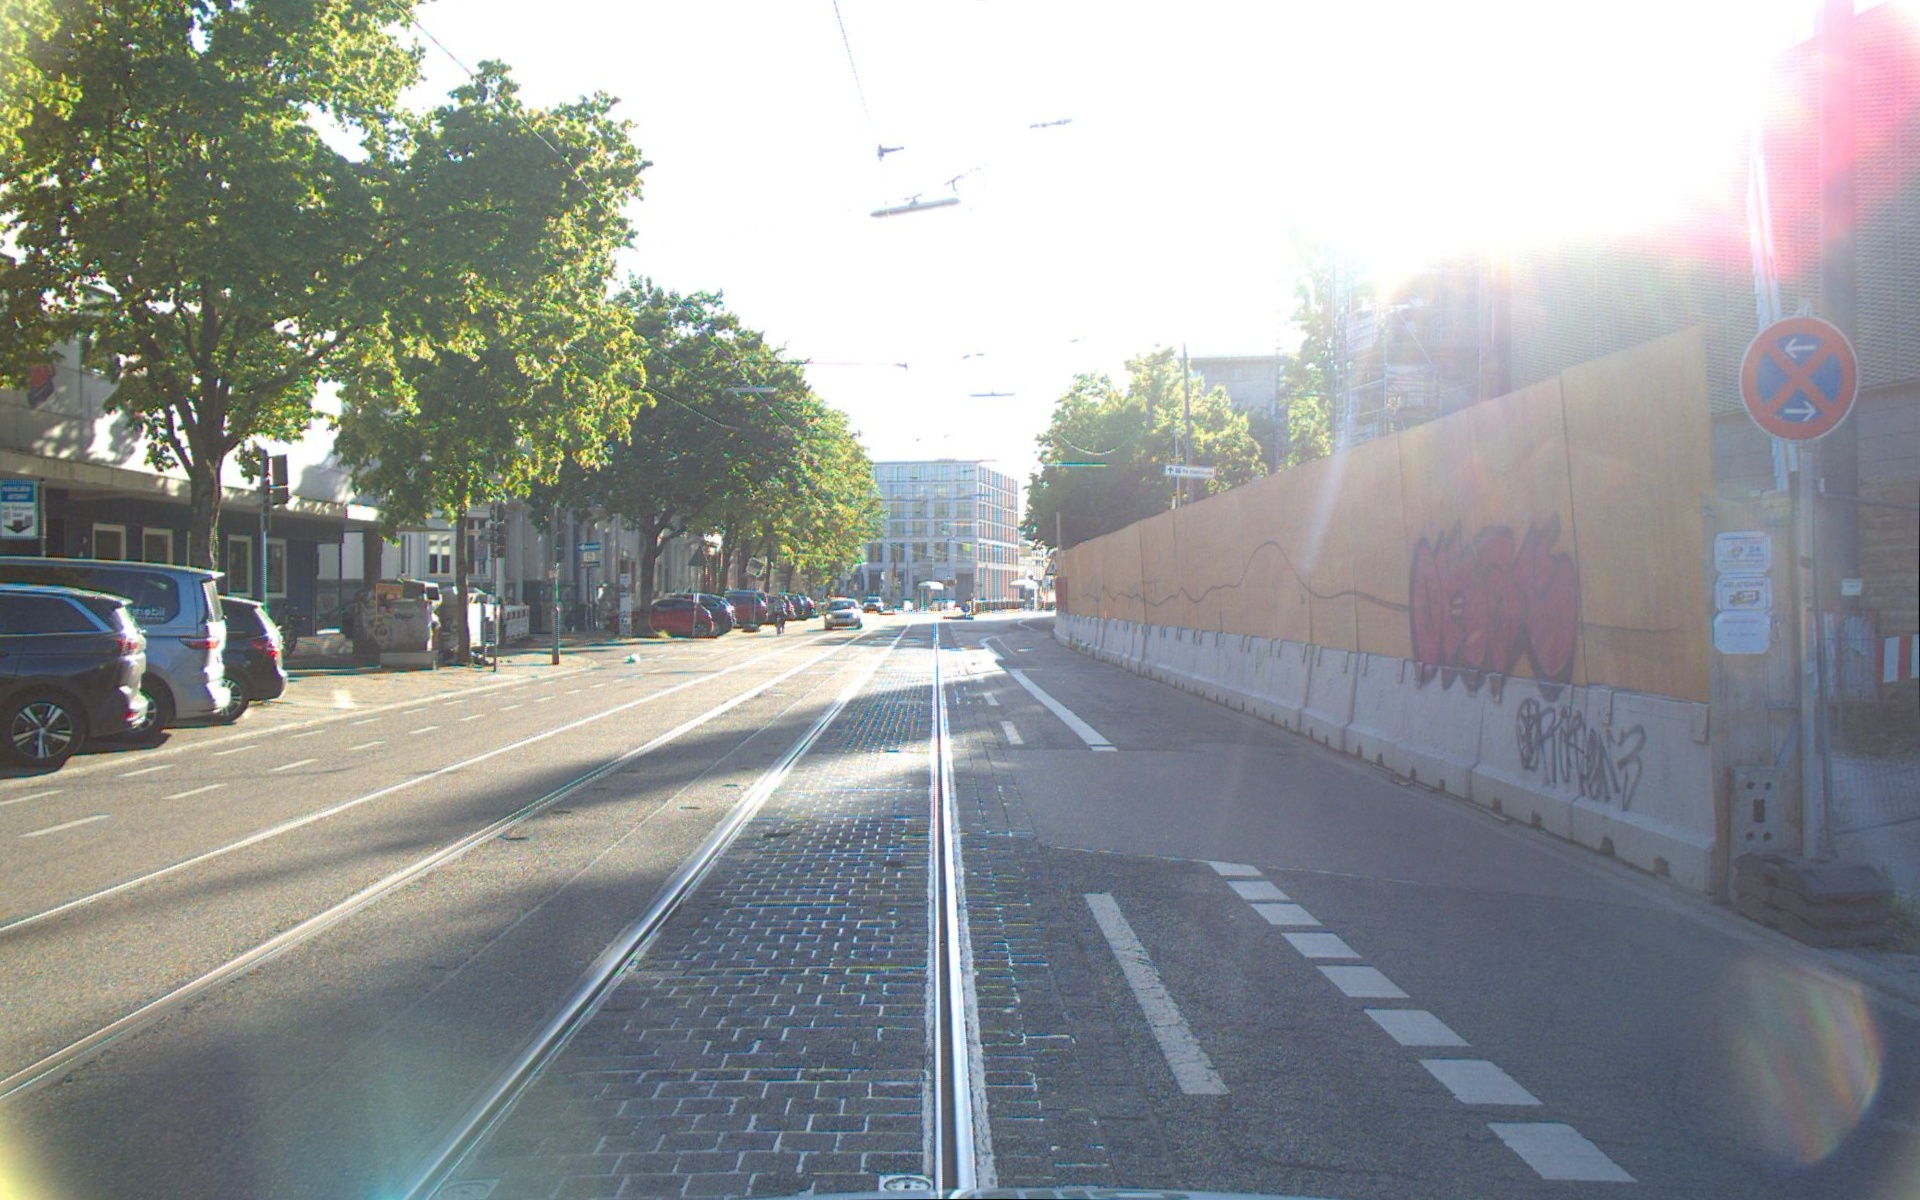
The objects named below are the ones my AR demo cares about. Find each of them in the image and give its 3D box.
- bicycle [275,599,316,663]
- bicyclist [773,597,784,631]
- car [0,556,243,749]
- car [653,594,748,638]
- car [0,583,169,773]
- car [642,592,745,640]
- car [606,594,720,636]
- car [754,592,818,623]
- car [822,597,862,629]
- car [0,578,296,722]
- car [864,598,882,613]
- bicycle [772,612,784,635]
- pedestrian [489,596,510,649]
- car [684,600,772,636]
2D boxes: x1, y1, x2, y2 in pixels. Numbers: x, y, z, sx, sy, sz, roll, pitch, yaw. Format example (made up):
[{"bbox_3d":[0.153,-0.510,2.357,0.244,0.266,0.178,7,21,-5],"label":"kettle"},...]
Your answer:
[{"bbox_3d":[-14.620,0.667,36.439,0.516,1.367,2.176,-1,0,-14],"label":"bicycle"},{"bbox_3d":[-7.579,0.600,69.141,0.449,1.402,0.640,-1,0,-6],"label":"bicyclist"},{"bbox_3d":[-10.283,0.545,18.203,4.294,2.021,1.936,1,0,-23],"label":"car"},{"bbox_3d":[-10.863,0.635,69.307,3.645,1.751,1.591,-1,0,-36],"label":"car"},{"bbox_3d":[-9.910,0.747,15.691,4.176,1.714,1.799,-1,0,-22],"label":"car"},{"bbox_3d":[-10.352,0.600,64.260,3.645,1.751,1.591,-1,0,-36],"label":"car"},{"bbox_3d":[-10.964,0.563,61.126,3.868,1.478,1.618,1,-1,-35],"label":"car"},{"bbox_3d":[-9.744,0.402,92.633,3.336,1.727,1.392,0,0,-29],"label":"car"},{"bbox_3d":[-5.666,0.602,79.804,1.674,1.461,4.170,-1,0,-1],"label":"car"},{"bbox_3d":[-10.708,0.620,20.838,4.228,1.696,1.897,2,-1,-25],"label":"car"},{"bbox_3d":[-9.245,0.567,176.090,1.525,1.557,4.002,-1,0,3],"label":"car"},{"bbox_3d":[-7.600,0.977,69.134,0.440,0.896,1.899,-1,0,-6],"label":"bicycle"},{"bbox_3d":[-14.193,0.690,50.977,0.338,1.600,0.511,-1,0,27],"label":"pedestrian"},{"bbox_3d":[-11.536,0.889,82.274,4.113,1.751,1.569,0,0,-29],"label":"car"}]
